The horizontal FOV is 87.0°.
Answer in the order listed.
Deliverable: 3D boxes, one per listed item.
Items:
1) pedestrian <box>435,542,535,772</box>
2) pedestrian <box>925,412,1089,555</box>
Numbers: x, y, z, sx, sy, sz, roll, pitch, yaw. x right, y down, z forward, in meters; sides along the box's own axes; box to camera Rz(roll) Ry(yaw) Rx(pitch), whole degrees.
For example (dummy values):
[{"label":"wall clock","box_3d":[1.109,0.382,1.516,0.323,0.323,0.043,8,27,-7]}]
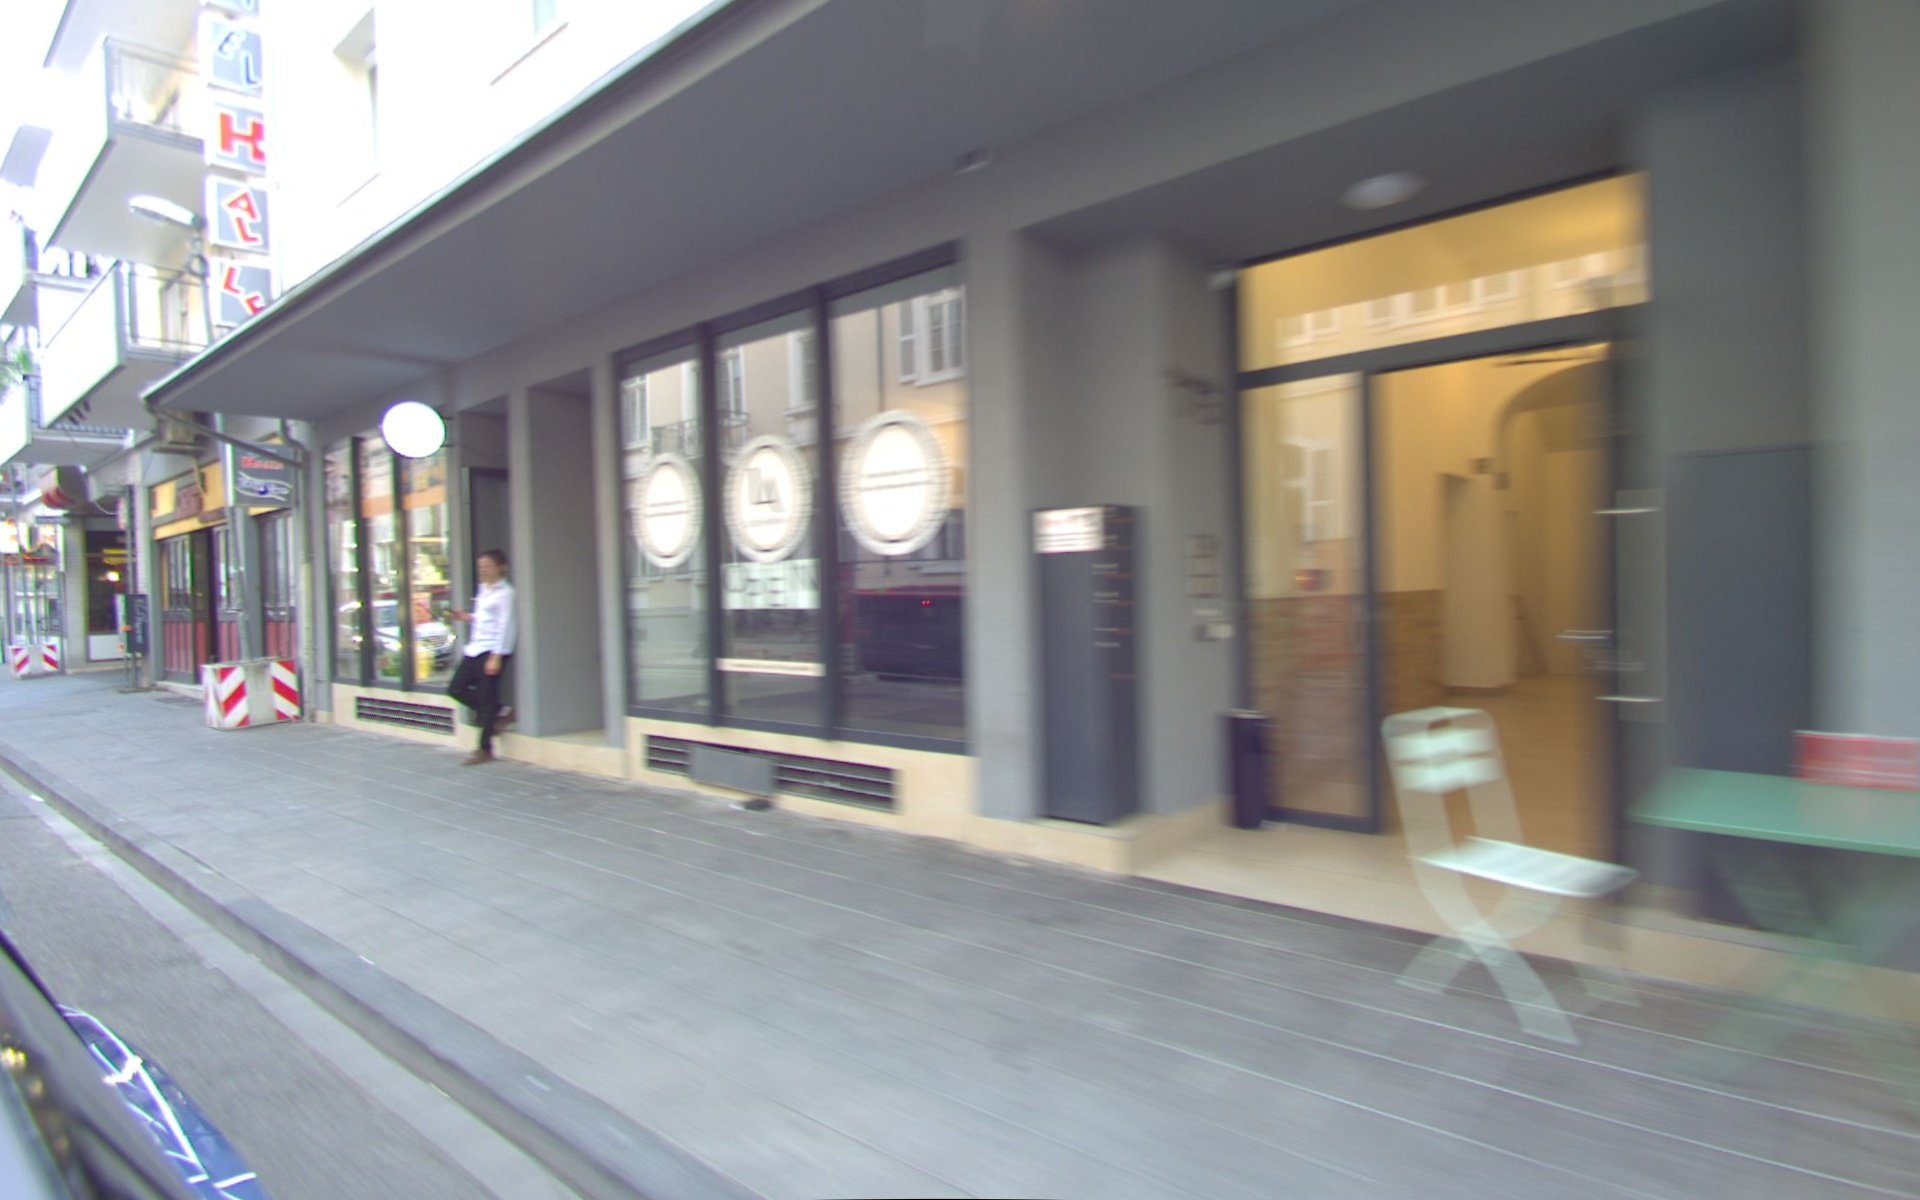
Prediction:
[{"label":"pedestrian","box_3d":[-3.988,0.460,8.501,0.561,1.848,0.526,-2,-1,35]},{"label":"pedestrian","box_3d":[0.694,-1.940,18.121,1.967,2.029,4.009,-1,-1,-12]}]
